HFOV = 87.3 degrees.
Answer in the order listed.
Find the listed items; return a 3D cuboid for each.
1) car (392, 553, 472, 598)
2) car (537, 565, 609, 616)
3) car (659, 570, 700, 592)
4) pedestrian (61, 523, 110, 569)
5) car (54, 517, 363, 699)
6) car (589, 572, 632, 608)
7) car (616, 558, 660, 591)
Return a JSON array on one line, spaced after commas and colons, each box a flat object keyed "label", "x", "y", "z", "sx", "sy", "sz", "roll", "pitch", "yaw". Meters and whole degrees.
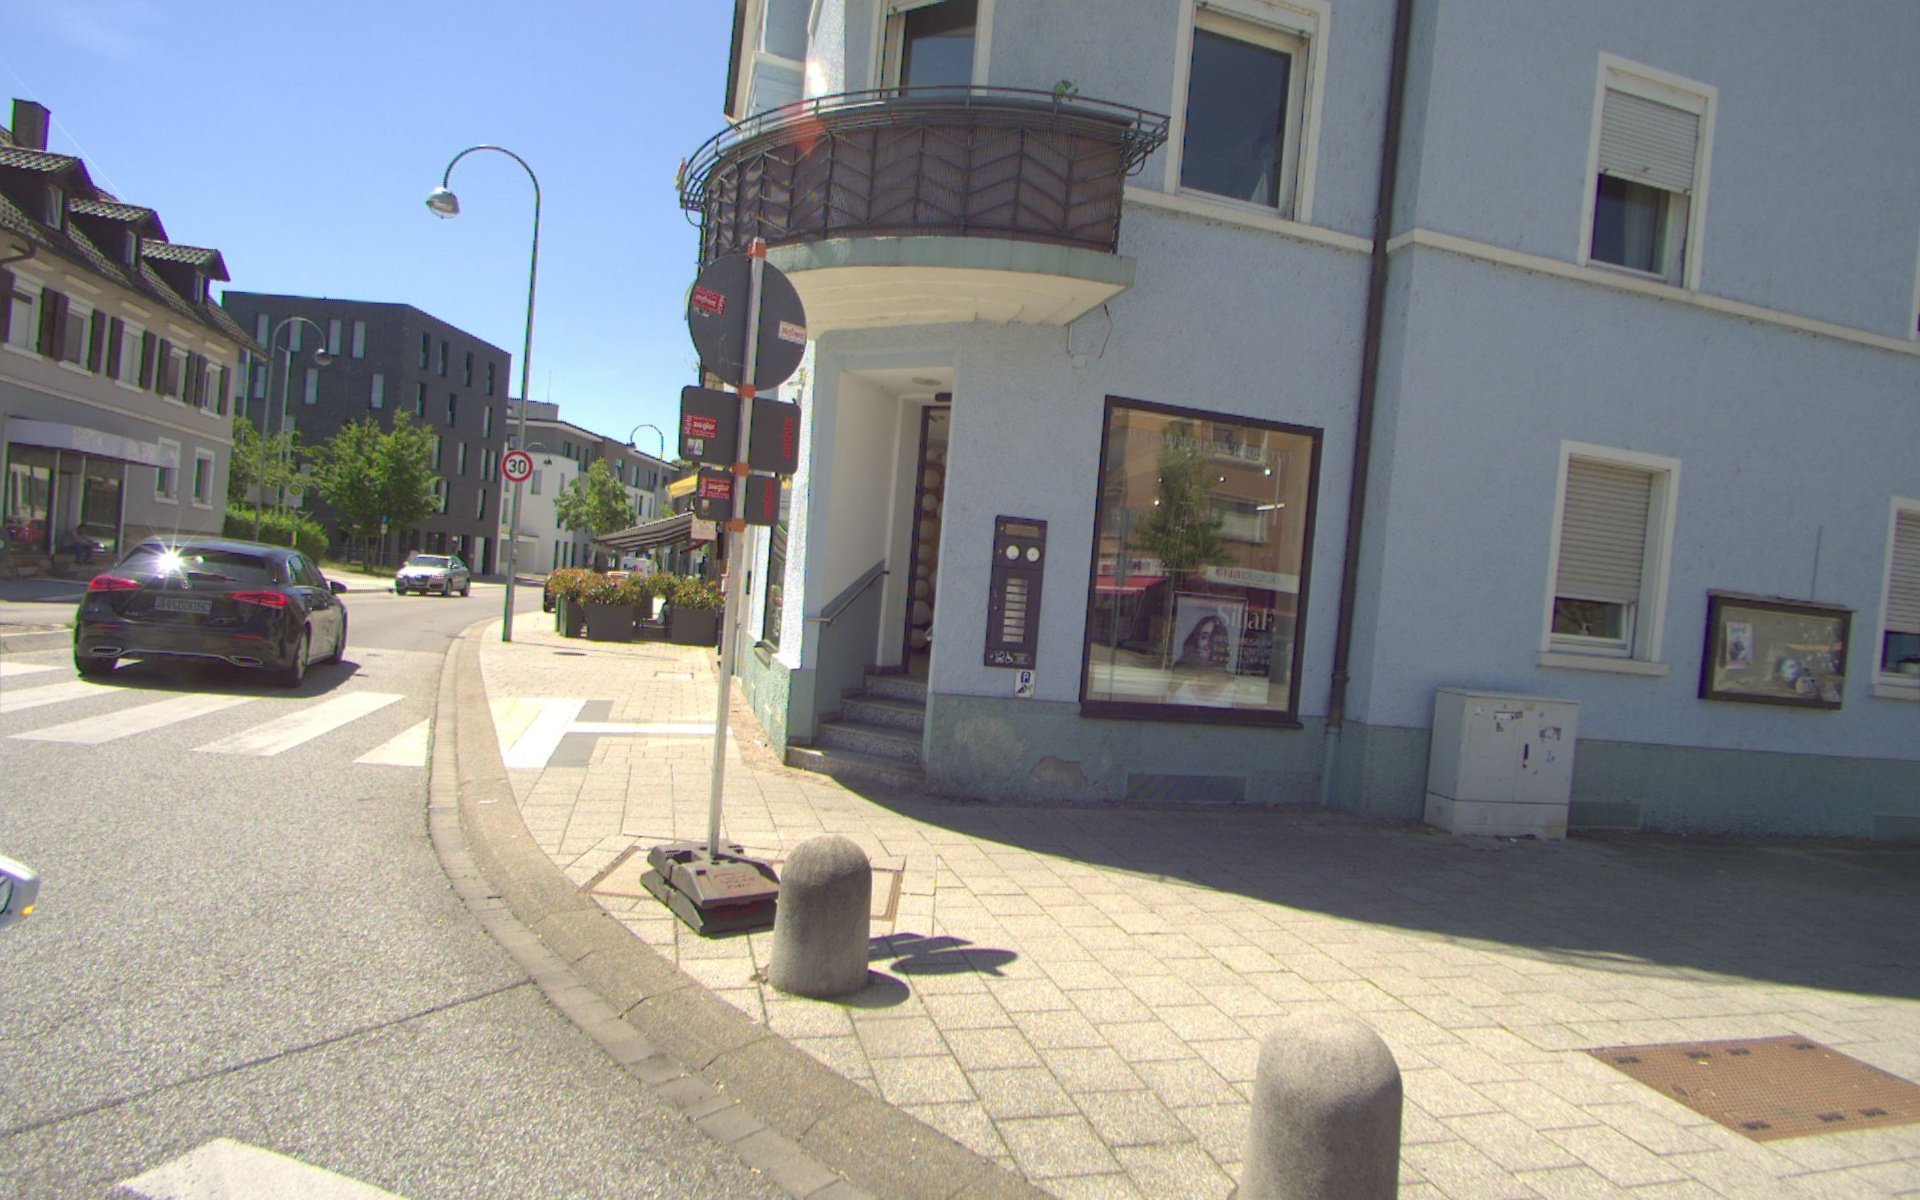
[{"label": "car", "x": -20.293, "y": -0.932, "z": 38.828, "sx": 1.652, "sy": 1.563, "sz": 4.074, "roll": 3, "pitch": 0, "yaw": -12}, {"label": "car", "x": -13.279, "y": -0.330, "z": 34.713, "sx": 1.727, "sy": 1.505, "sz": 3.989, "roll": 5, "pitch": 0, "yaw": -14}, {"label": "car", "x": -31.676, "y": -2.127, "z": 113.673, "sx": 3.923, "sy": 2.039, "sz": 2.001, "roll": 6, "pitch": 0, "yaw": 7}, {"label": "pedestrian", "x": -22.138, "y": -1.353, "z": 25.485, "sx": 0.662, "sy": 1.068, "sz": 0.697, "roll": 5, "pitch": 1, "yaw": -18}, {"label": "car", "x": -8.009, "y": 0.023, "z": 11.209, "sx": 1.746, "sy": 1.475, "sz": 4.411, "roll": 7, "pitch": -1, "yaw": -25}, {"label": "car", "x": -16.608, "y": -0.500, "z": 47.930, "sx": 1.585, "sy": 1.550, "sz": 3.481, "roll": 3, "pitch": 0, "yaw": -15}, {"label": "car", "x": -22.727, "y": -1.775, "z": 71.154, "sx": 1.964, "sy": 2.039, "sz": 3.997, "roll": 6, "pitch": 0, "yaw": -4}]
